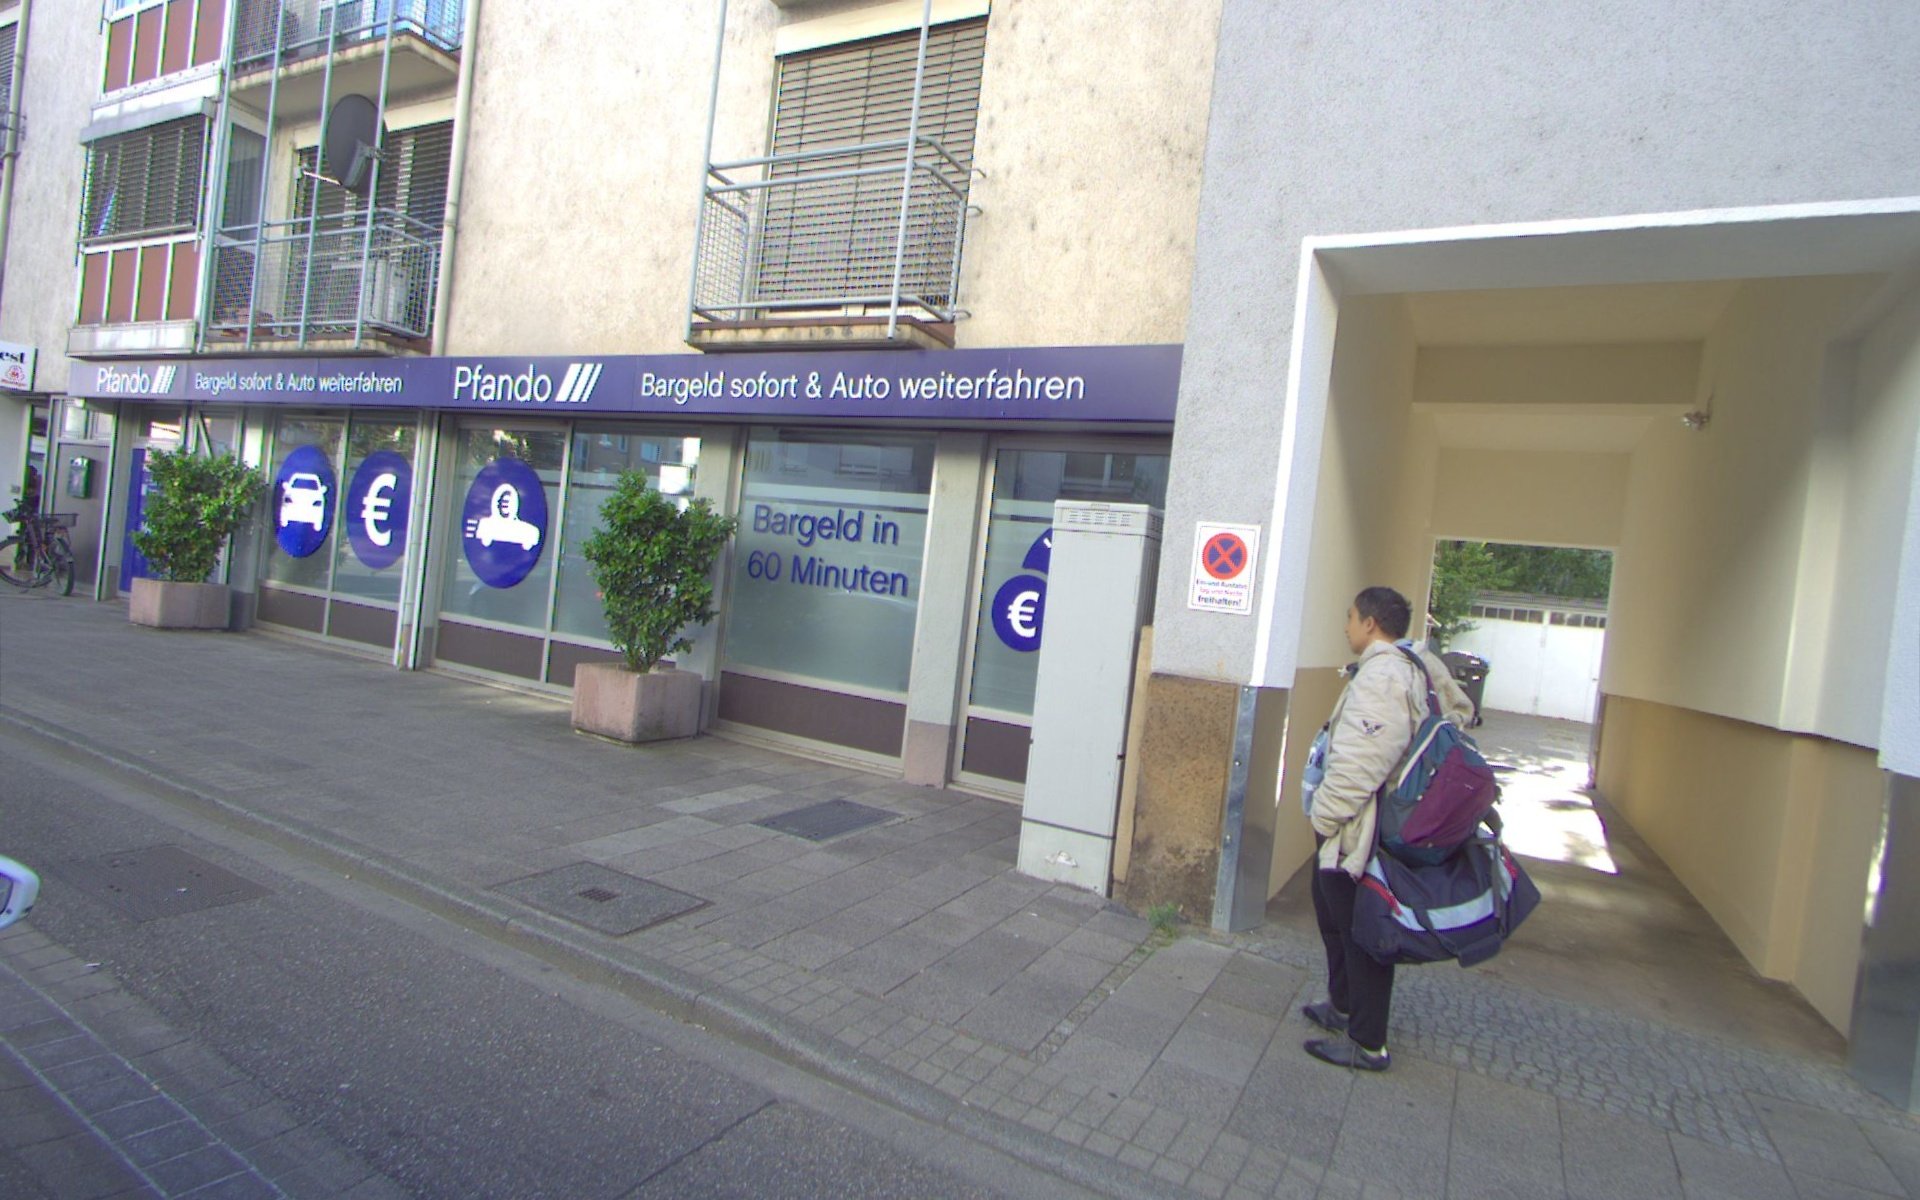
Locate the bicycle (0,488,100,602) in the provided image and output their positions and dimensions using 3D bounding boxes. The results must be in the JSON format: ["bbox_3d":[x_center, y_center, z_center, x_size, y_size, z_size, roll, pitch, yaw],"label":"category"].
[{"bbox_3d":[-11.843,-0.727,12.881,1.879,1.280,0.640,7,1,32],"label":"bicycle"}]

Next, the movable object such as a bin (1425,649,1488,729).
[{"bbox_3d":[10.112,1.788,20.461,0.945,1.426,1.598,7,1,29],"label":"movable object such as a bin"}]

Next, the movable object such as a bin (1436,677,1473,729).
[{"bbox_3d":[9.561,1.981,19.458,0.518,0.922,0.580,7,1,29],"label":"movable object such as a bin"}]

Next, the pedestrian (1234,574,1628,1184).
[{"bbox_3d":[1.524,0.771,3.300,0.853,1.593,0.874,8,3,29],"label":"pedestrian"}]
